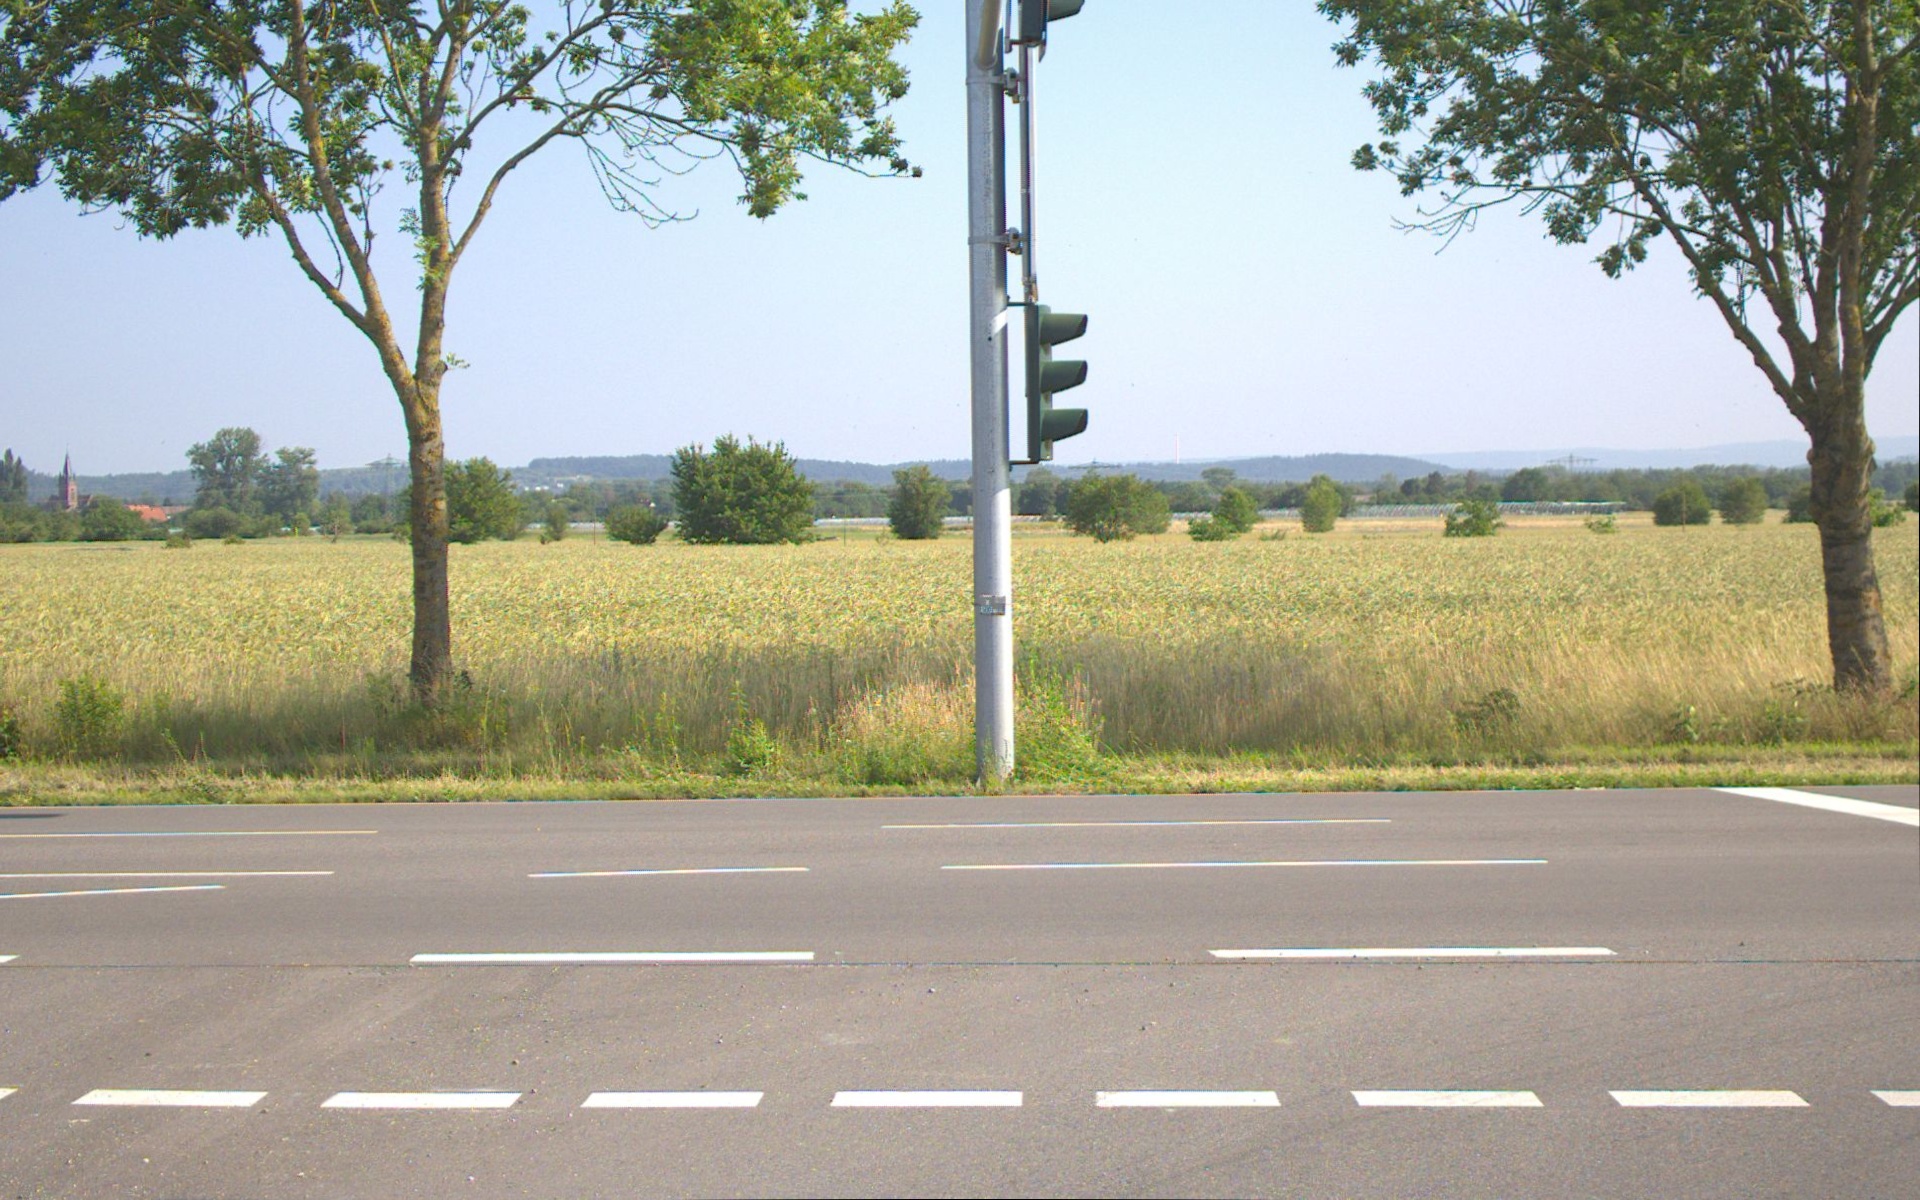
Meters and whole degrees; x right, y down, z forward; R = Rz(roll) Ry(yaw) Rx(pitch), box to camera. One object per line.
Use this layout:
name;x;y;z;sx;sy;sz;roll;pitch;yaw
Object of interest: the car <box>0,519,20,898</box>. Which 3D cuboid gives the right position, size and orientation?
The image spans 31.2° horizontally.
car;-6.627;0.458;14.793;4.603;1.717;2.000;1;0;0
